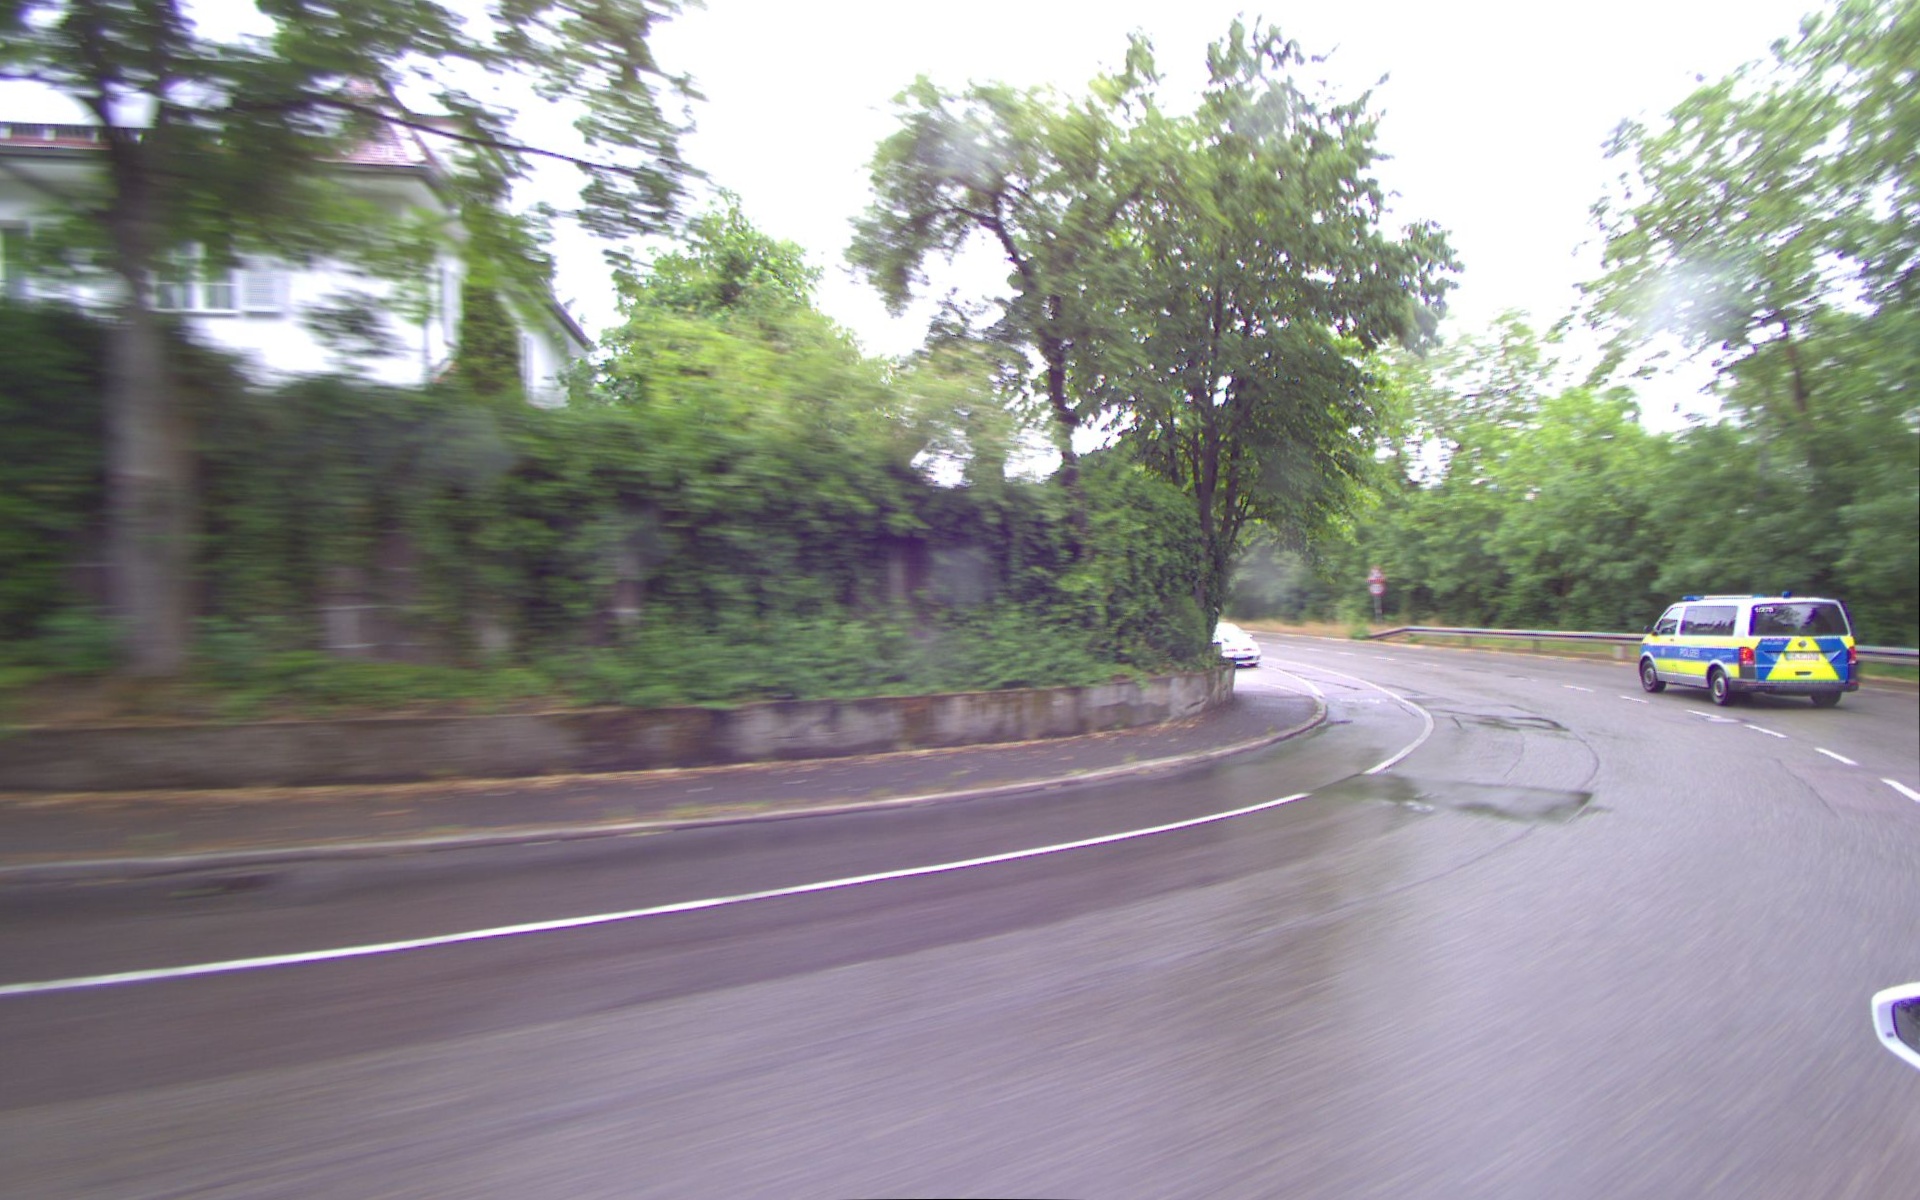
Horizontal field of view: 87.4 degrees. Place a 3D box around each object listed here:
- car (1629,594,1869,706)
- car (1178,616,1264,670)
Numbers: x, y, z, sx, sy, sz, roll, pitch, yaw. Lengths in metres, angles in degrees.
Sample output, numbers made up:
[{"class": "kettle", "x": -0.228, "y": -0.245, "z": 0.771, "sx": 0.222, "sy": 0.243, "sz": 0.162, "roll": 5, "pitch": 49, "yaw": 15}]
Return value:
[{"class": "car", "x": 15.191, "y": 0.928, "z": 19.700, "sx": 1.959, "sy": 1.918, "sz": 4.573, "roll": 1, "pitch": -2, "yaw": 13}, {"class": "car", "x": 9.097, "y": 1.458, "z": 35.331, "sx": 1.777, "sy": 1.359, "sz": 4.251, "roll": 0, "pitch": 5, "yaw": -2}]
